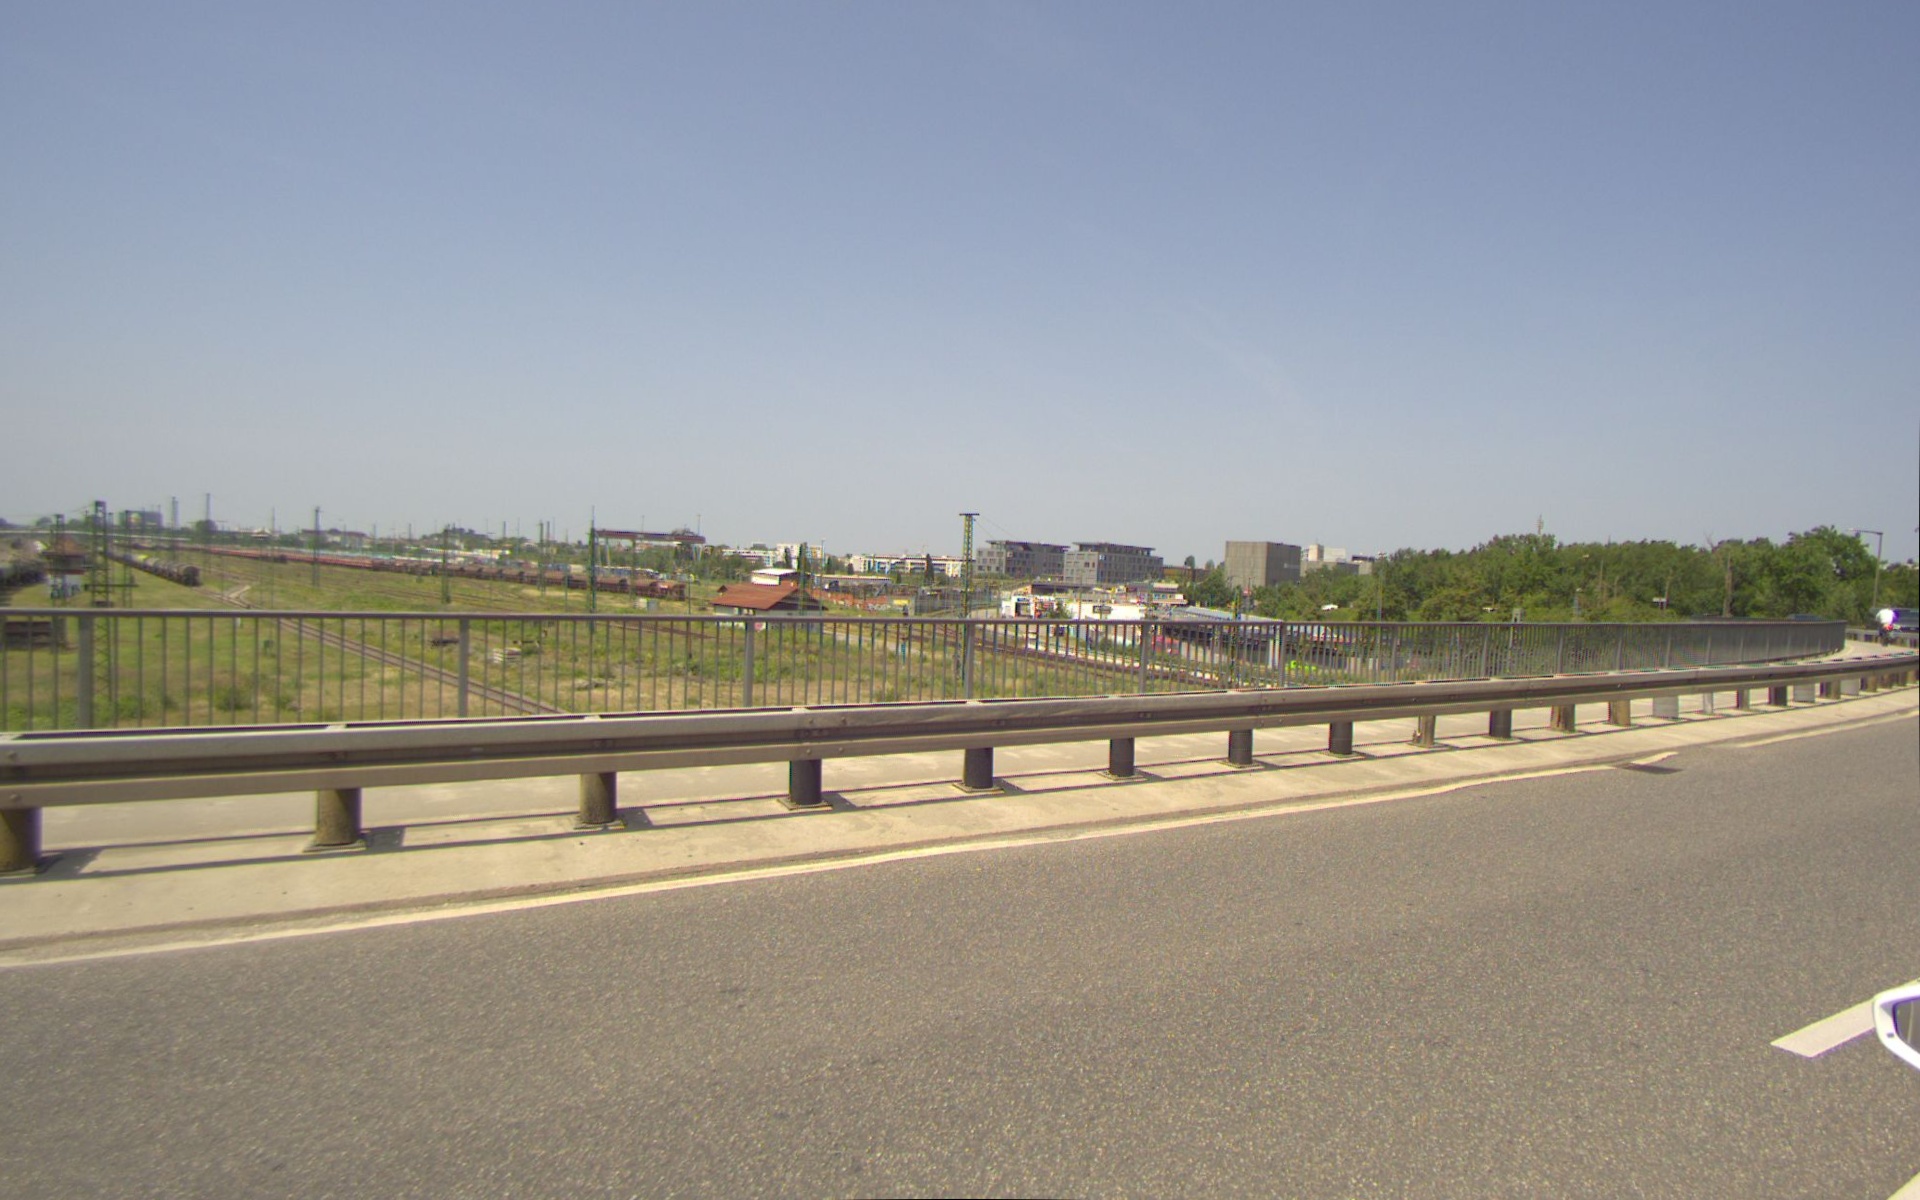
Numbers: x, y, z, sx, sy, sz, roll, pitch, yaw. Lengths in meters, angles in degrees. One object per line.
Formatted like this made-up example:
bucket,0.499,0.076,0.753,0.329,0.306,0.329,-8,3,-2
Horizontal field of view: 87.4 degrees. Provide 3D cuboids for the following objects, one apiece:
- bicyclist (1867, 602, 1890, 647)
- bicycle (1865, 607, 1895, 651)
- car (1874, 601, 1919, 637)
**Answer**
bicyclist,39.760,1.043,43.482,0.616,1.911,0.709,2,2,37
bicycle,39.893,1.224,43.587,0.689,1.826,2.172,2,2,36
car,54.095,1.099,57.520,1.981,1.985,5.253,1,0,36
